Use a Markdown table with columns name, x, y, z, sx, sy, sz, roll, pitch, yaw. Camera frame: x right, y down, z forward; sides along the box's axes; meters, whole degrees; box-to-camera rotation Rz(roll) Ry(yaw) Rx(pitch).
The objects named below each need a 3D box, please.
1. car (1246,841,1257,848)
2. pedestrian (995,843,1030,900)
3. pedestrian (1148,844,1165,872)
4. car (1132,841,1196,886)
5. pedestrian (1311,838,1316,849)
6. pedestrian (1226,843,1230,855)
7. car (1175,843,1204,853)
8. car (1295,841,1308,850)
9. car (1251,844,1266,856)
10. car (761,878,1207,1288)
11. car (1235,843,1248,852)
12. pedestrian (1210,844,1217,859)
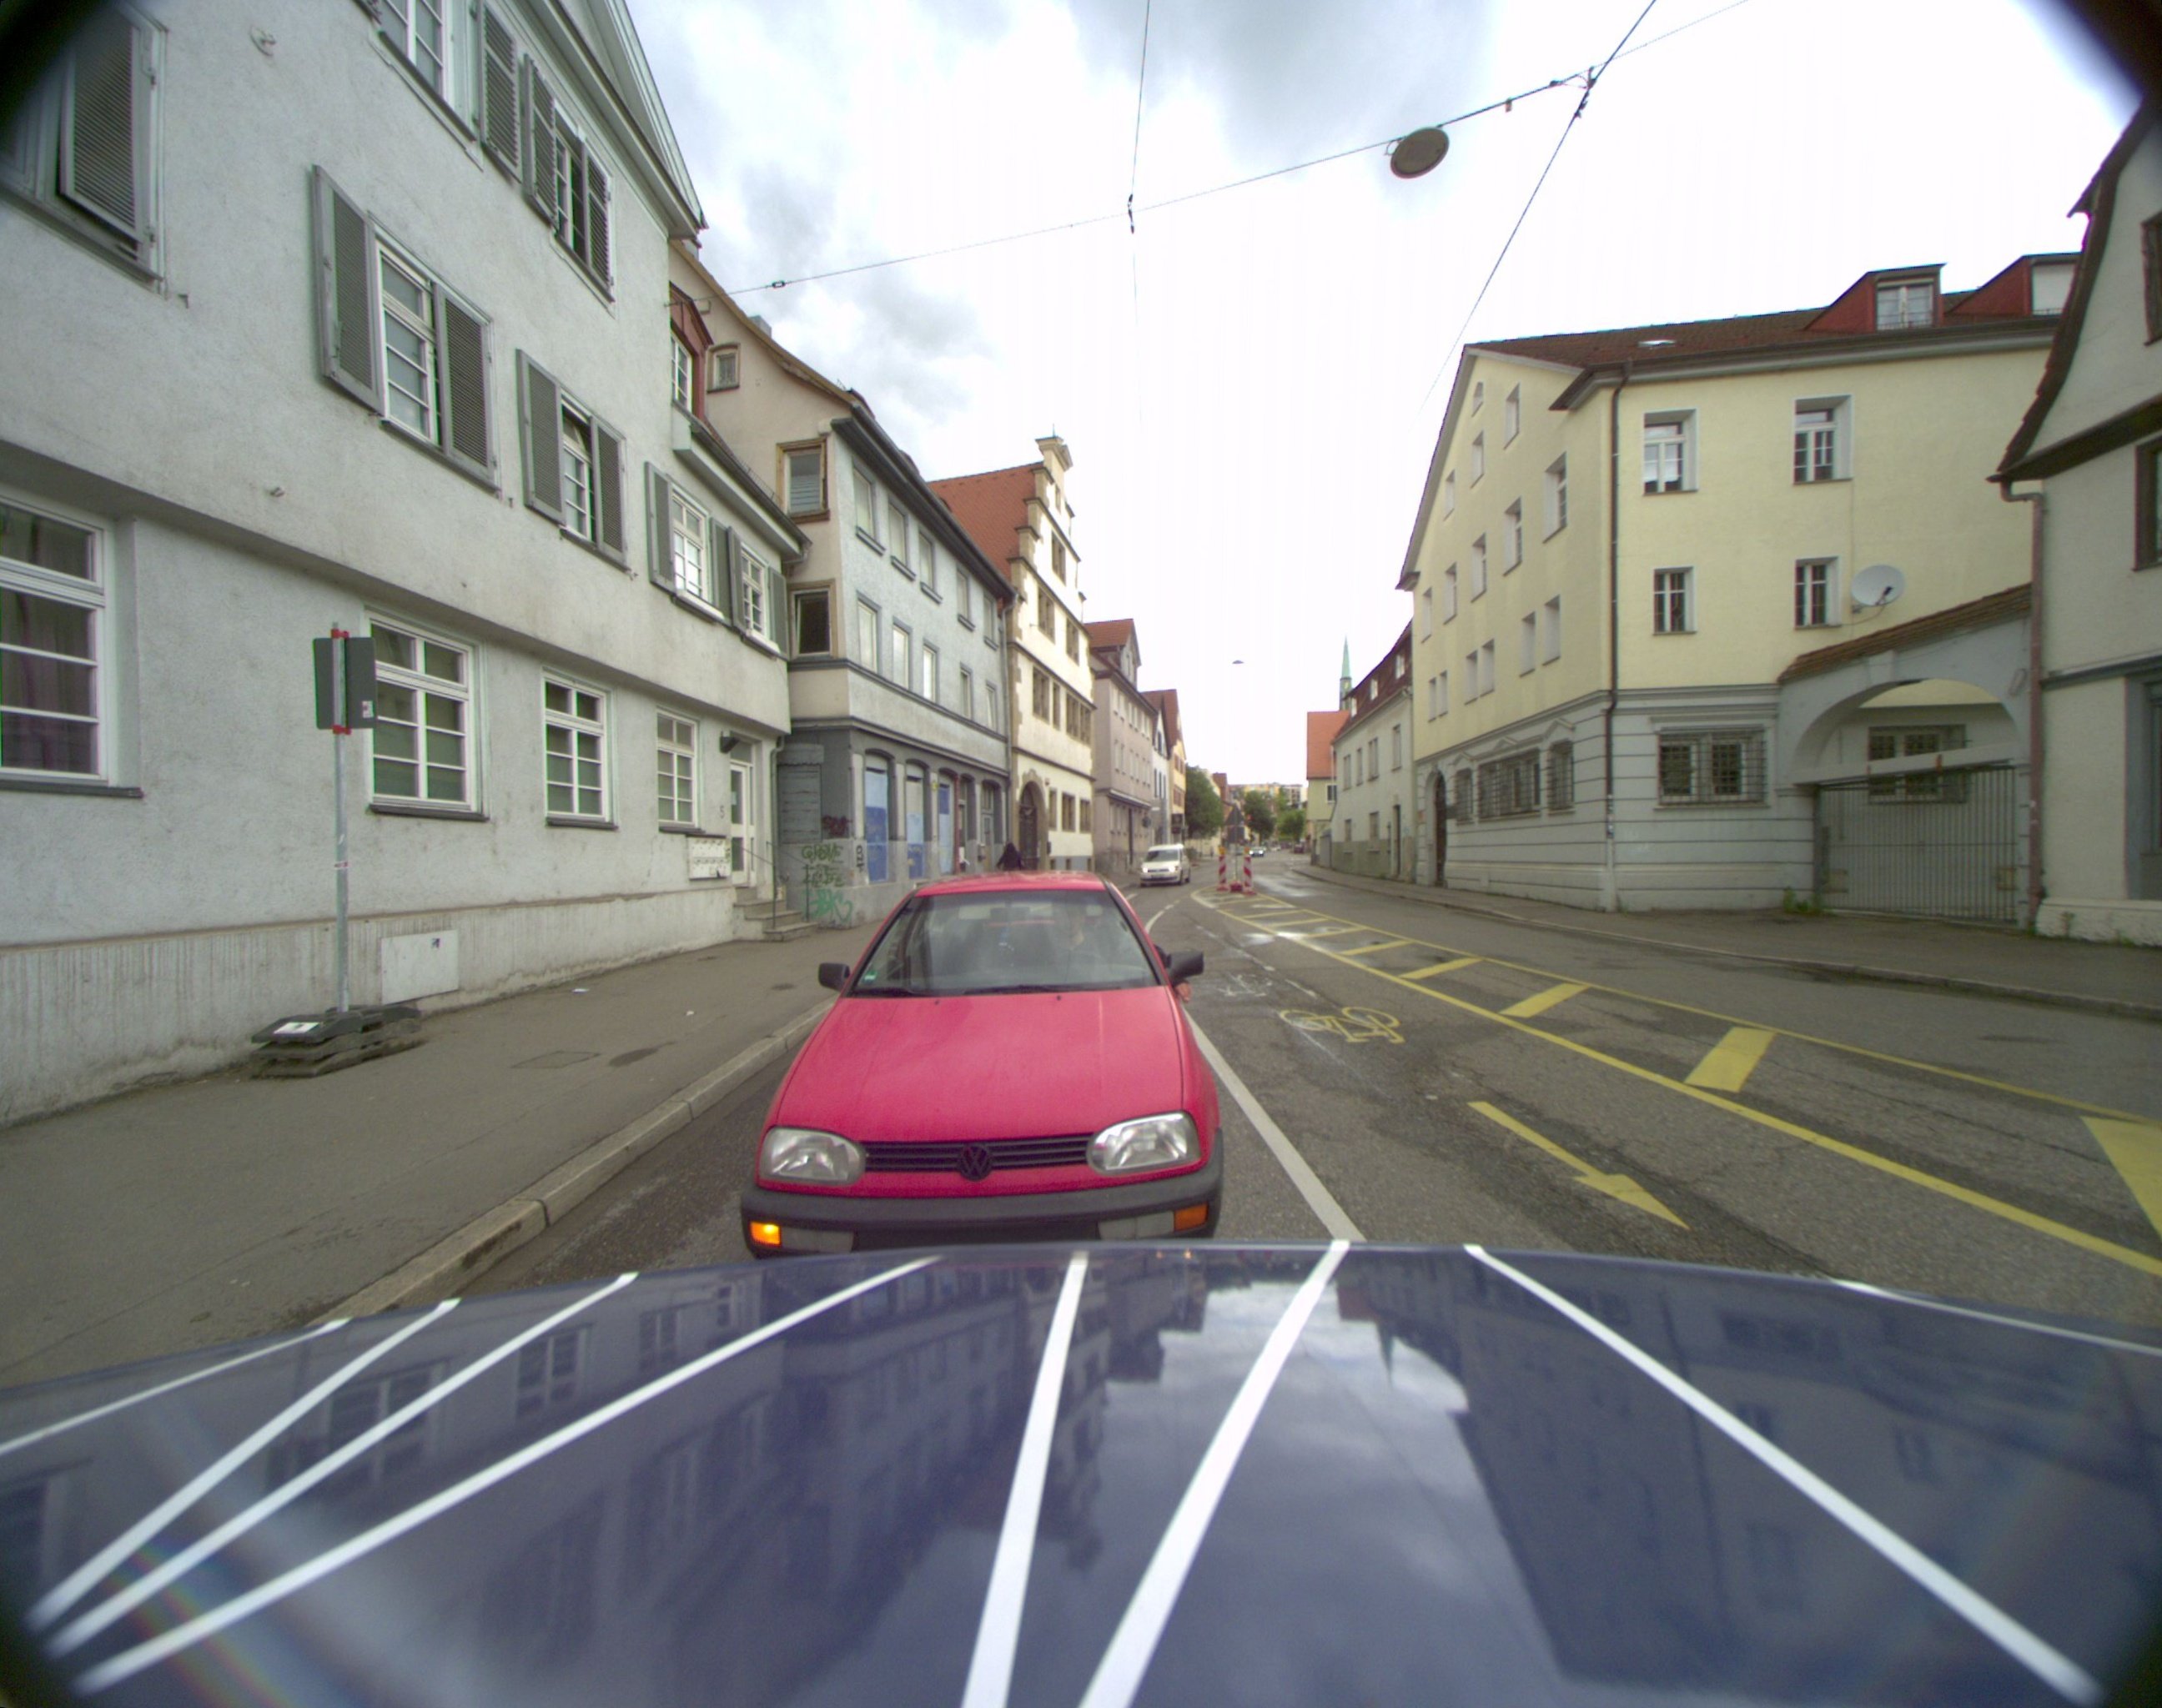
| name | x | y | z | sx | sy | sz | roll | pitch | yaw |
| --- | --- | --- | --- | --- | --- | --- | --- | --- | --- |
| car | 34.628 | -1.877 | 154.214 | 1.819 | 1.380 | 4.005 | 0 | 1 | 17 |
| pedestrian | -2.042 | 0.507 | 22.682 | 0.756 | 1.658 | 0.810 | 2 | 1 | 14 |
| pedestrian | 4.550 | 0.224 | 45.805 | 0.833 | 1.646 | 0.945 | -1 | 0 | 15 |
| car | 3.718 | 0.347 | 33.382 | 1.996 | 1.777 | 4.472 | 0 | 2 | 17 |
| pedestrian | 43.549 | -1.923 | 142.541 | 0.835 | 2.002 | 0.846 | -1 | 1 | 13 |
| pedestrian | 25.244 | -0.888 | 130.324 | 0.660 | 2.103 | 0.646 | -1 | 0 | 10 |
| car | 16.286 | -0.890 | 113.619 | 3.992 | 1.455 | 2.002 | -1 | 2 | 17 |
| car | 42.639 | -1.672 | 146.793 | 2.210 | 1.668 | 4.502 | 0 | 1 | 14 |
| car | 25.900 | -0.630 | 110.737 | 1.996 | 1.669 | 4.004 | -1 | 1 | 15 |
| car | -0.342 | 0.952 | 4.936 | 1.685 | 1.418 | 4.021 | -1 | 0 | 1 |
| car | 28.307 | -1.127 | 133.614 | 2.031 | 1.546 | 4.004 | 0 | 1 | 14 |
| pedestrian | 19.761 | -0.377 | 113.078 | 0.901 | 2.297 | 0.821 | -1 | 0 | 13 |
